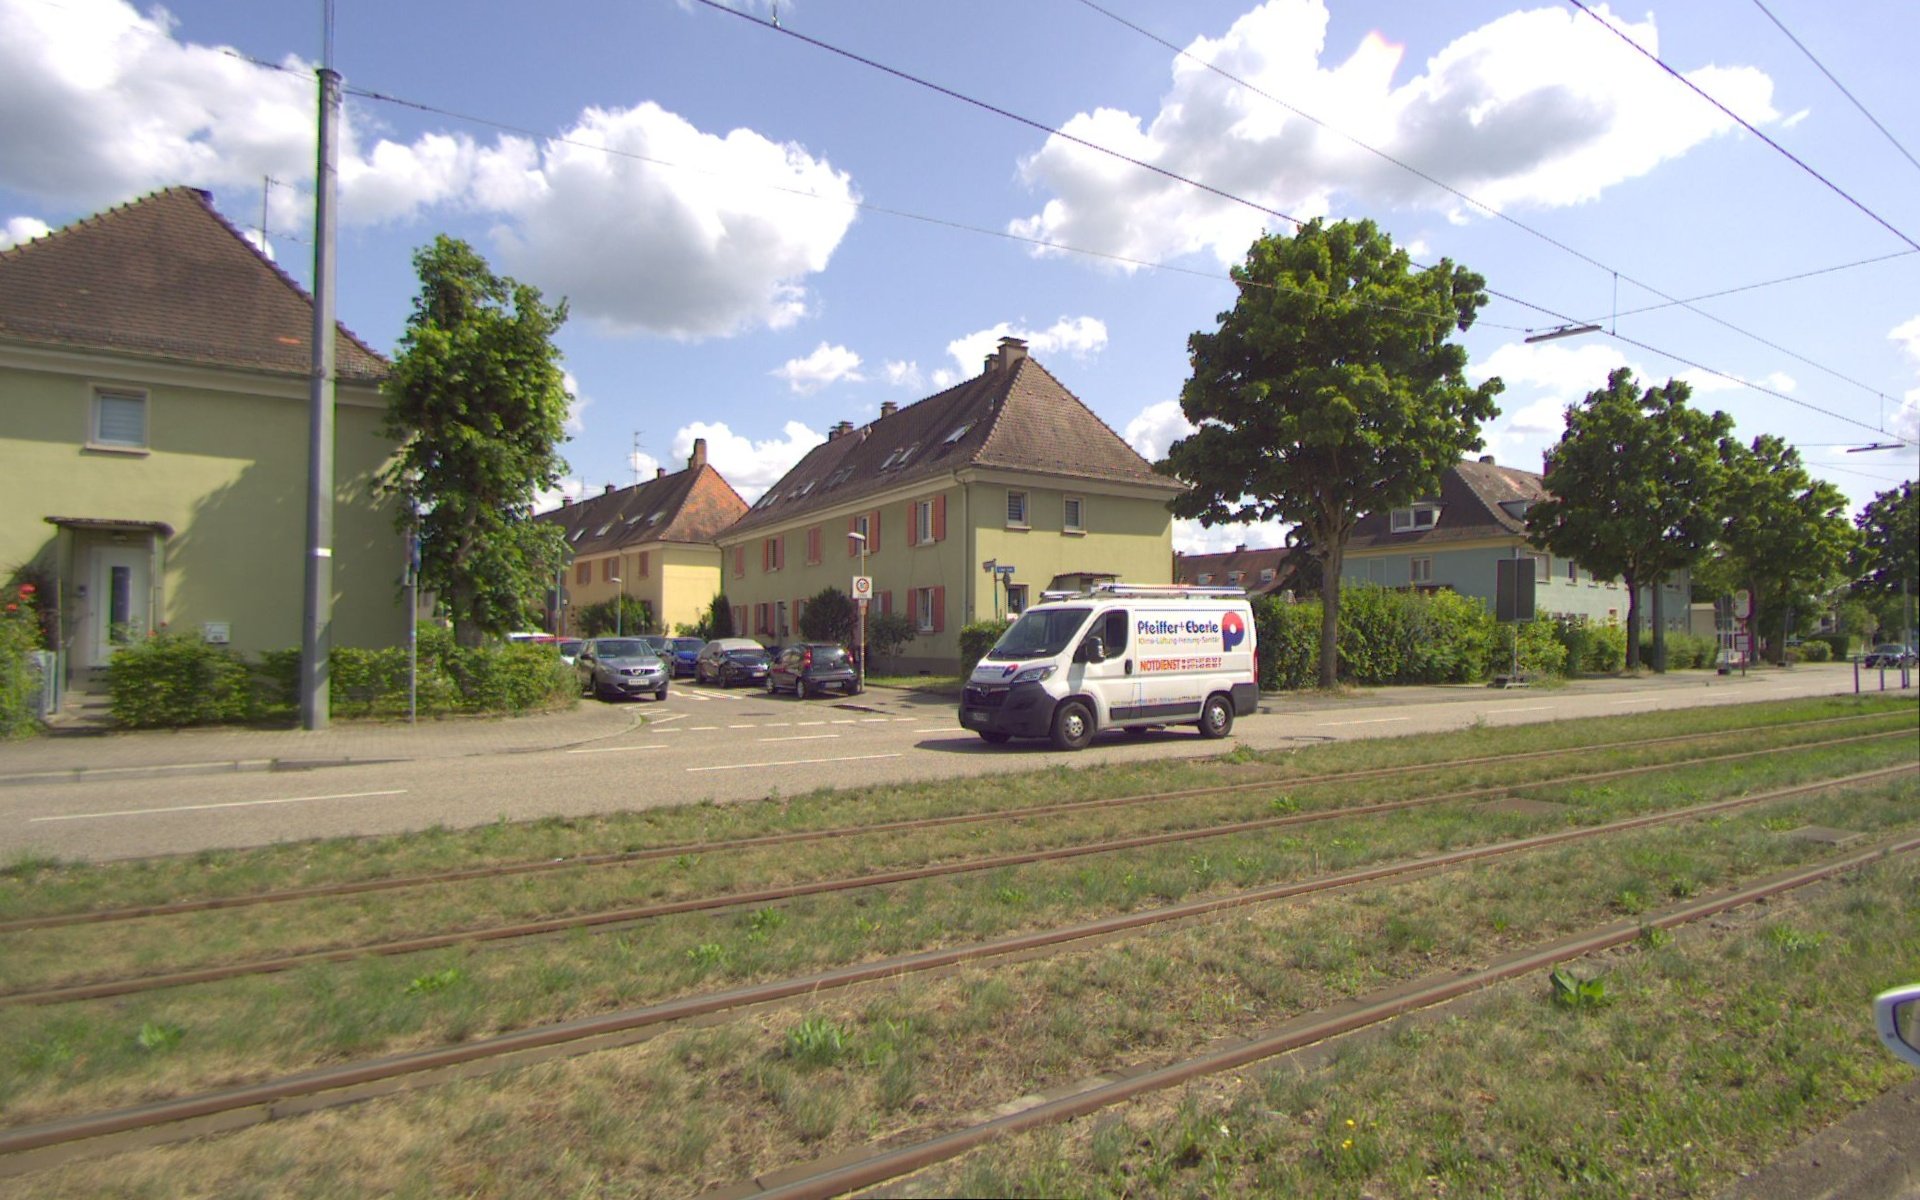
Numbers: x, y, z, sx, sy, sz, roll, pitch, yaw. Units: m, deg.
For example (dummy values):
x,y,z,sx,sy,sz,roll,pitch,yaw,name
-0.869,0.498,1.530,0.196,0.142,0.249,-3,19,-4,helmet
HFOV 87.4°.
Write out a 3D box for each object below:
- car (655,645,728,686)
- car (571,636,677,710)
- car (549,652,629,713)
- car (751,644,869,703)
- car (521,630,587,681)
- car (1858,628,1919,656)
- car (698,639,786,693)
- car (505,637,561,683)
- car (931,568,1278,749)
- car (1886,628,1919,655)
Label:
x,y,z,sx,sy,sz,roll,pitch,yaw,name
-10.127,2.445,37.678,1.707,1.456,3.724,1,-4,-31,car
-8.682,1.836,25.755,1.803,1.708,3.723,0,-3,-31,car
-11.518,2.512,31.056,1.707,1.720,3.724,0,-3,-30,car
-4.217,1.997,27.809,1.874,1.487,3.721,0,-3,-33,car
-14.708,2.018,36.309,1.707,1.720,3.725,0,-3,-30,car
55.004,2.491,59.498,3.888,1.605,1.776,1,-2,-33,car
-7.138,2.123,32.623,1.707,1.595,3.724,0,-3,-31,car
-17.507,2.453,41.097,1.706,1.751,3.725,0,-3,-30,car
2.360,0.895,15.768,5.277,2.402,2.184,1,-4,-34,car
59.978,2.563,63.159,4.715,1.635,2.043,1,-3,-41,car
